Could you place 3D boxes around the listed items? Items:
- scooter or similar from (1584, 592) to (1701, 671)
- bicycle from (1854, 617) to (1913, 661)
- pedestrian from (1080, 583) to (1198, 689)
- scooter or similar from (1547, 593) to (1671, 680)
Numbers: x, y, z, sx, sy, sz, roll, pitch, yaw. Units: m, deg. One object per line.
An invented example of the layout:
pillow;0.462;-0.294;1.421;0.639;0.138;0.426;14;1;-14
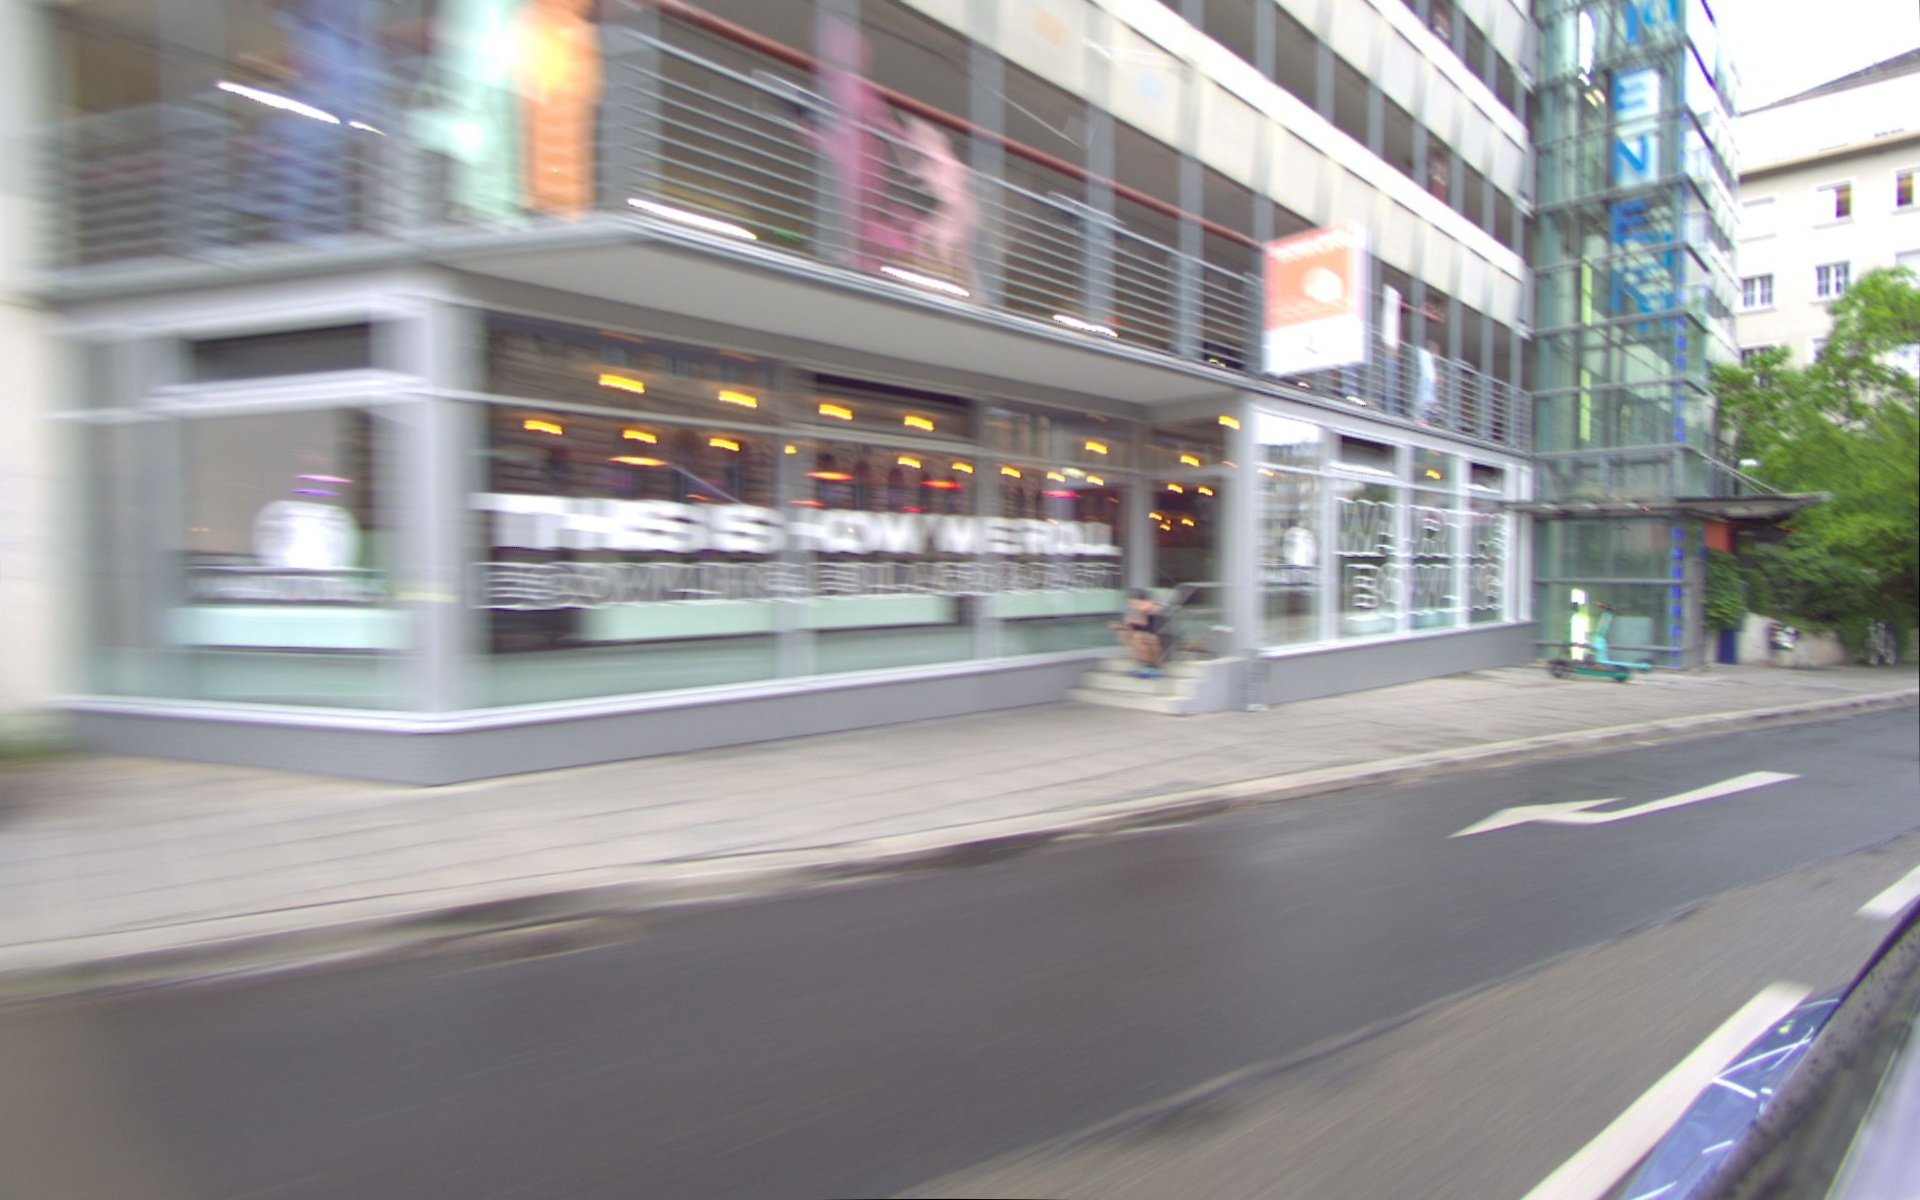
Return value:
scooter or similar;12.013;0.526;17.846;1.630;1.283;0.733;3;2;36
bicycle;20.355;0.847;22.300;1.656;0.896;0.472;-1;1;-30
pedestrian;2.055;0.377;11.563;1.226;1.137;0.753;-1;0;-44
scooter or similar;10.539;0.562;16.462;1.630;1.283;0.733;3;2;36
